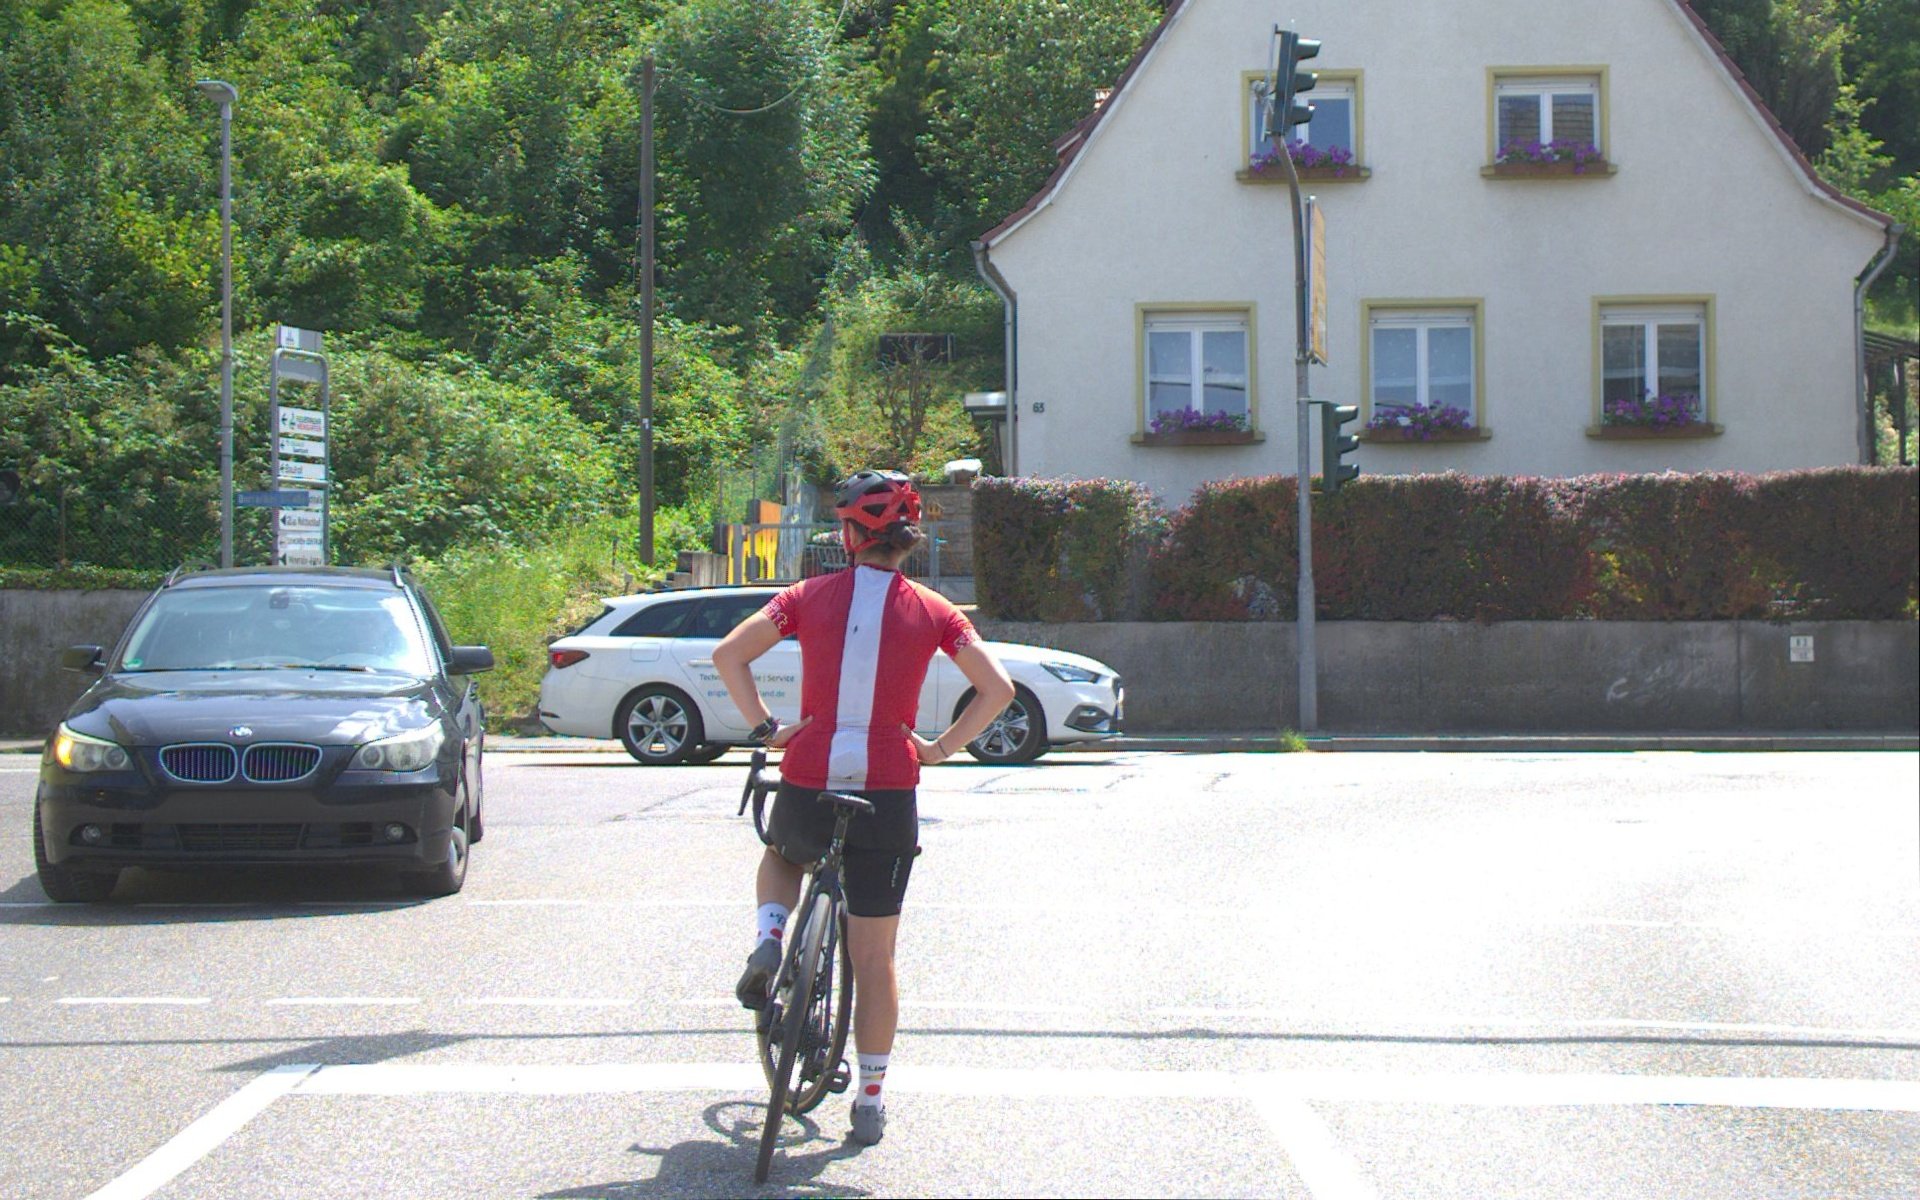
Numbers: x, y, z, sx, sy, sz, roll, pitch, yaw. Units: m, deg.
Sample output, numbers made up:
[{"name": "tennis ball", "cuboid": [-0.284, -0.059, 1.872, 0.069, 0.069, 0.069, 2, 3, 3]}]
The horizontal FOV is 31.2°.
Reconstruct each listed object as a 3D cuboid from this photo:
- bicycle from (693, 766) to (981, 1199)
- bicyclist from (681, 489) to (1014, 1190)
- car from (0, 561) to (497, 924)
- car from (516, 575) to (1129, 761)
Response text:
[{"name": "bicycle", "cuboid": [-0.308, 0.917, 8.540, 0.630, 0.902, 1.657, 1, 1, -2]}, {"name": "bicyclist", "cuboid": [-0.284, 0.567, 8.613, 0.760, 1.659, 0.869, 1, 0, -2]}, {"name": "car", "cuboid": [-3.244, 0.560, 16.503, 1.863, 1.437, 4.672, -2, 1, -6]}, {"name": "car", "cuboid": [-1.035, 0.541, 27.474, 4.664, 1.422, 1.927, 0, -2, 6]}]
